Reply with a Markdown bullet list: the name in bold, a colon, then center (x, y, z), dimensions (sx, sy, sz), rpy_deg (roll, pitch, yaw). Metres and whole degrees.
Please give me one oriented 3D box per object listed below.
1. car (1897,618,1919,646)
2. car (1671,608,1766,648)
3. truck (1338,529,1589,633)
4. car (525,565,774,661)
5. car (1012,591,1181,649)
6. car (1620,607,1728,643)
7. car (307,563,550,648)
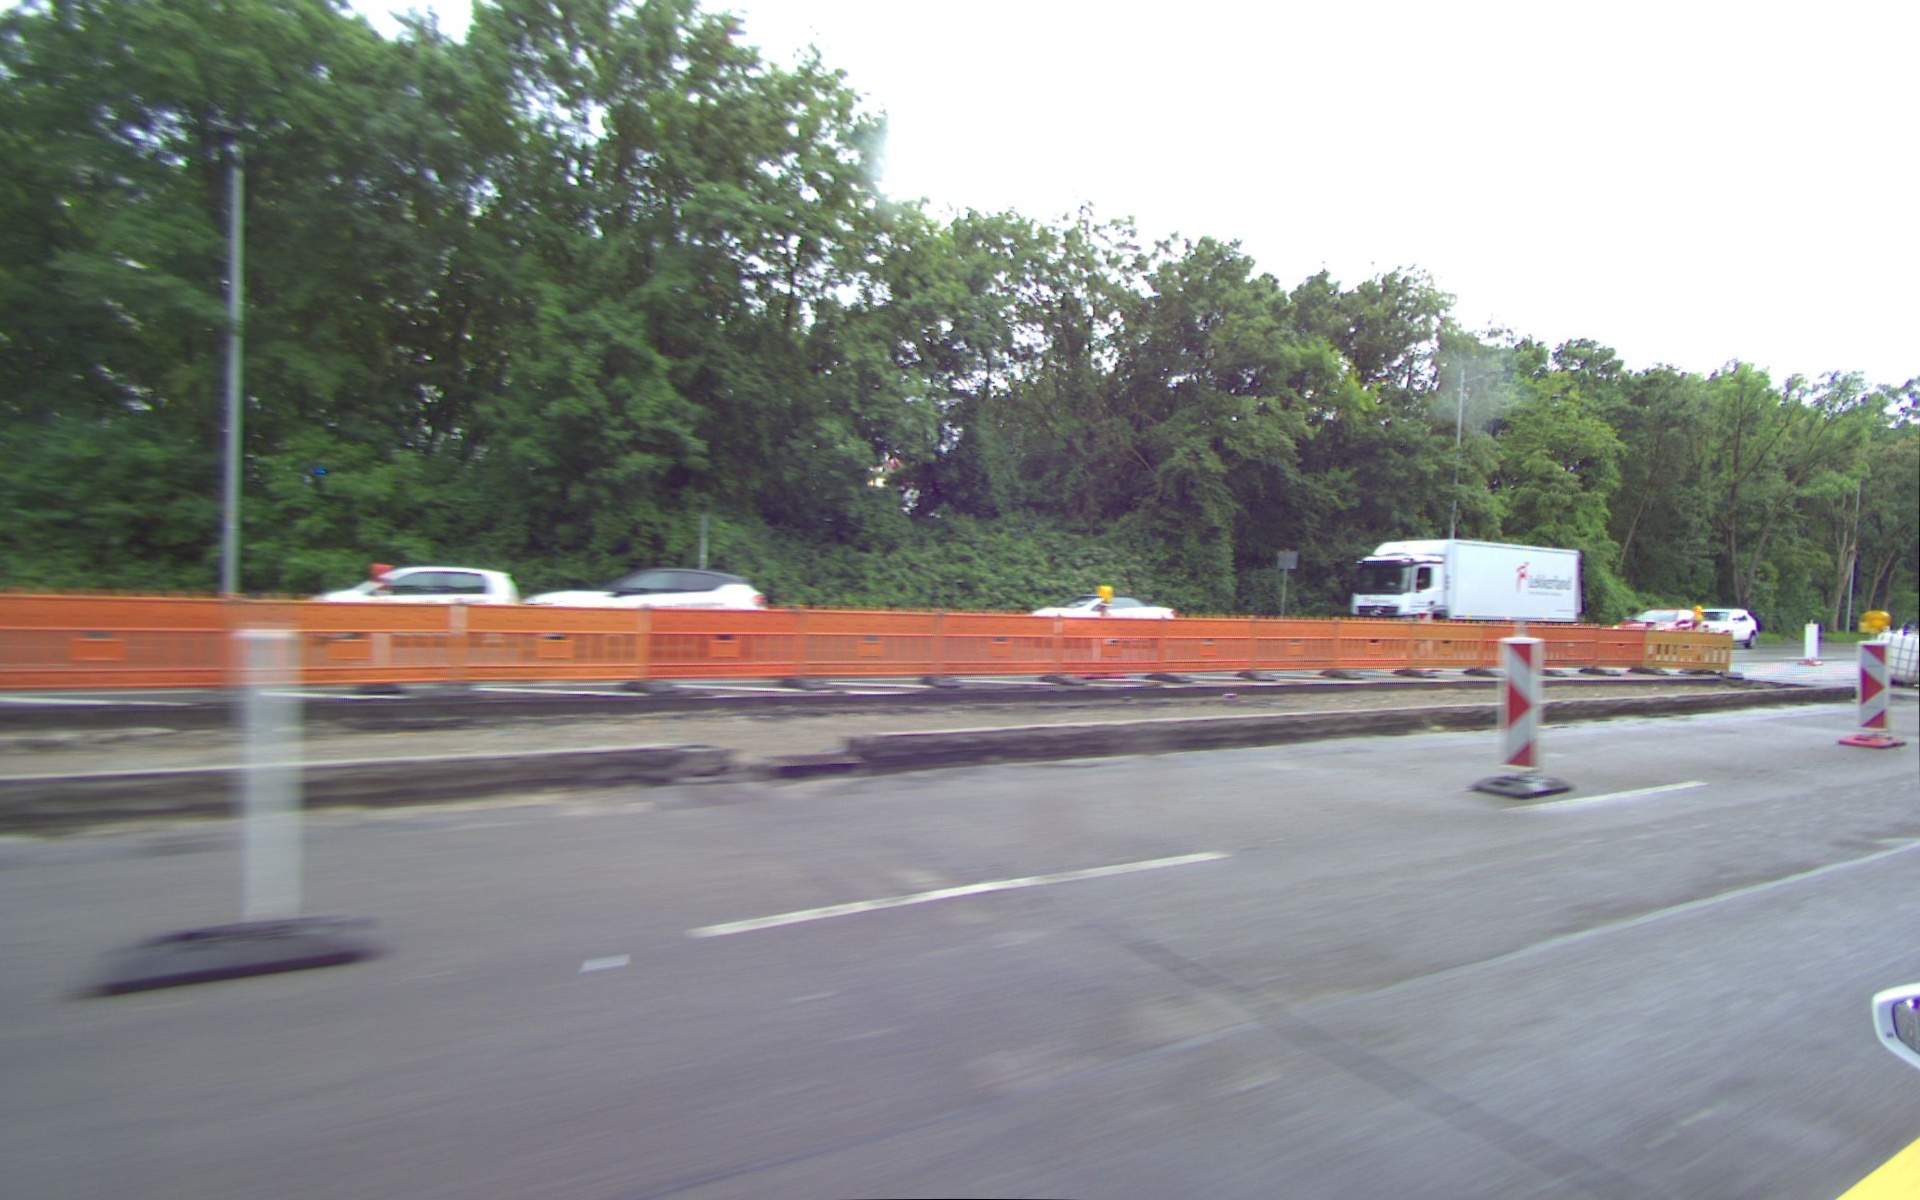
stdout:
- **car**: center (61.398, 2.052, 63.883), dimensions (4.153, 1.669, 1.626), rpy_deg (1, 0, -33)
- **car**: center (34.600, 1.301, 45.811), dimensions (4.664, 1.746, 1.836), rpy_deg (1, -2, -30)
- **truck**: center (17.900, -0.554, 35.379), dimensions (10.028, 3.190, 2.782), rpy_deg (2, 1, -30)
- **car**: center (-5.600, 0.231, 18.186), dimensions (3.993, 1.571, 1.826), rpy_deg (2, 1, -30)
- **car**: center (3.695, 0.548, 27.025), dimensions (4.318, 1.397, 1.801), rpy_deg (2, 1, -31)
- **car**: center (26.135, 0.926, 36.728), dimensions (4.233, 1.168, 1.597), rpy_deg (2, 1, -30)
- **car**: center (-9.899, 0.119, 18.891), dimensions (3.851, 1.444, 1.782), rpy_deg (2, 1, -30)
